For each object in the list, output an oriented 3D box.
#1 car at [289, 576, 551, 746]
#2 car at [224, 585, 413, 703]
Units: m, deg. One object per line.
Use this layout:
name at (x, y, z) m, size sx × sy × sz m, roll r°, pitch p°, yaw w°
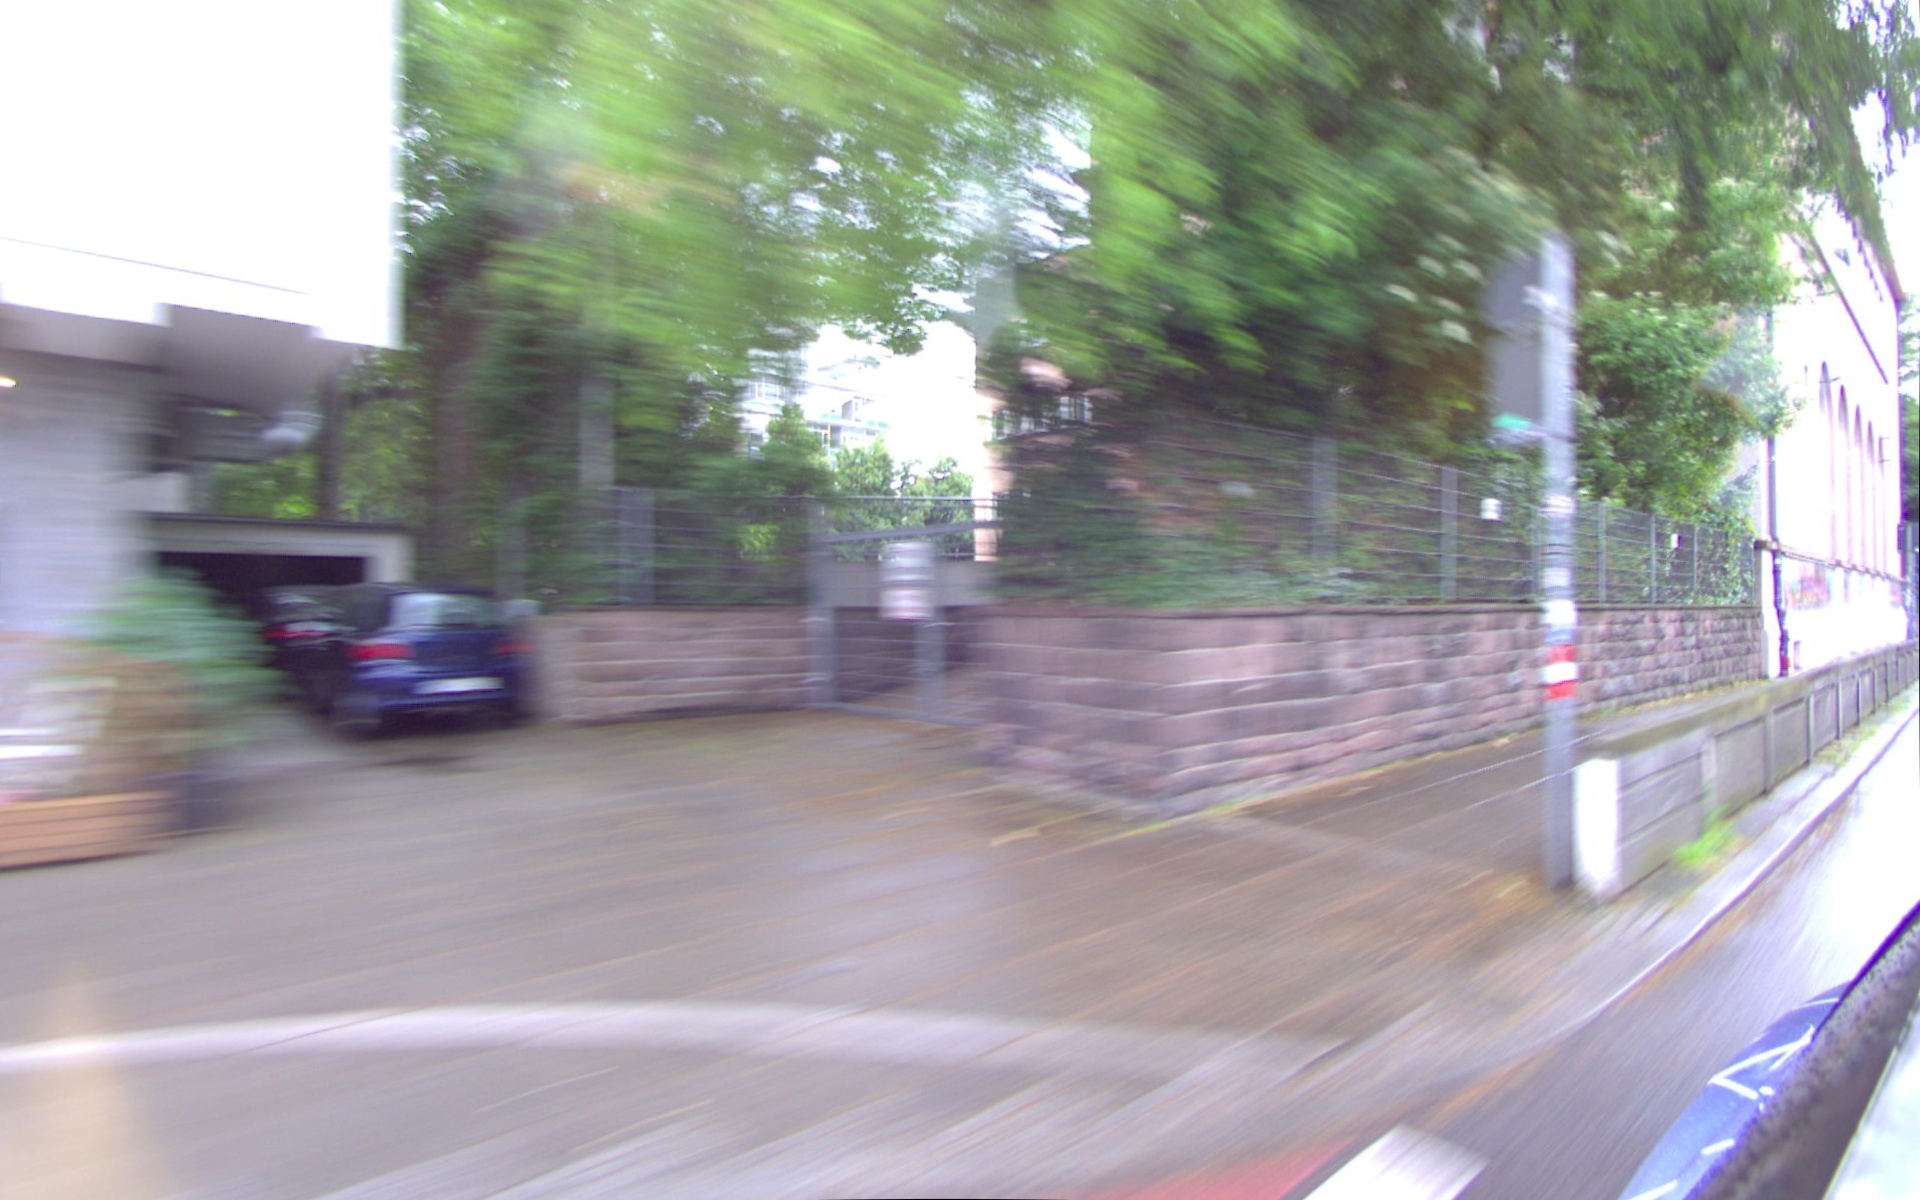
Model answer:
car at (-5.901, 0.528, 10.916) m, size 1.770 × 1.526 × 3.189 m, roll 1°, pitch 0°, yaw -42°
car at (-8.764, 0.507, 13.725) m, size 1.653 × 1.380 × 3.215 m, roll 1°, pitch 0°, yaw -42°
